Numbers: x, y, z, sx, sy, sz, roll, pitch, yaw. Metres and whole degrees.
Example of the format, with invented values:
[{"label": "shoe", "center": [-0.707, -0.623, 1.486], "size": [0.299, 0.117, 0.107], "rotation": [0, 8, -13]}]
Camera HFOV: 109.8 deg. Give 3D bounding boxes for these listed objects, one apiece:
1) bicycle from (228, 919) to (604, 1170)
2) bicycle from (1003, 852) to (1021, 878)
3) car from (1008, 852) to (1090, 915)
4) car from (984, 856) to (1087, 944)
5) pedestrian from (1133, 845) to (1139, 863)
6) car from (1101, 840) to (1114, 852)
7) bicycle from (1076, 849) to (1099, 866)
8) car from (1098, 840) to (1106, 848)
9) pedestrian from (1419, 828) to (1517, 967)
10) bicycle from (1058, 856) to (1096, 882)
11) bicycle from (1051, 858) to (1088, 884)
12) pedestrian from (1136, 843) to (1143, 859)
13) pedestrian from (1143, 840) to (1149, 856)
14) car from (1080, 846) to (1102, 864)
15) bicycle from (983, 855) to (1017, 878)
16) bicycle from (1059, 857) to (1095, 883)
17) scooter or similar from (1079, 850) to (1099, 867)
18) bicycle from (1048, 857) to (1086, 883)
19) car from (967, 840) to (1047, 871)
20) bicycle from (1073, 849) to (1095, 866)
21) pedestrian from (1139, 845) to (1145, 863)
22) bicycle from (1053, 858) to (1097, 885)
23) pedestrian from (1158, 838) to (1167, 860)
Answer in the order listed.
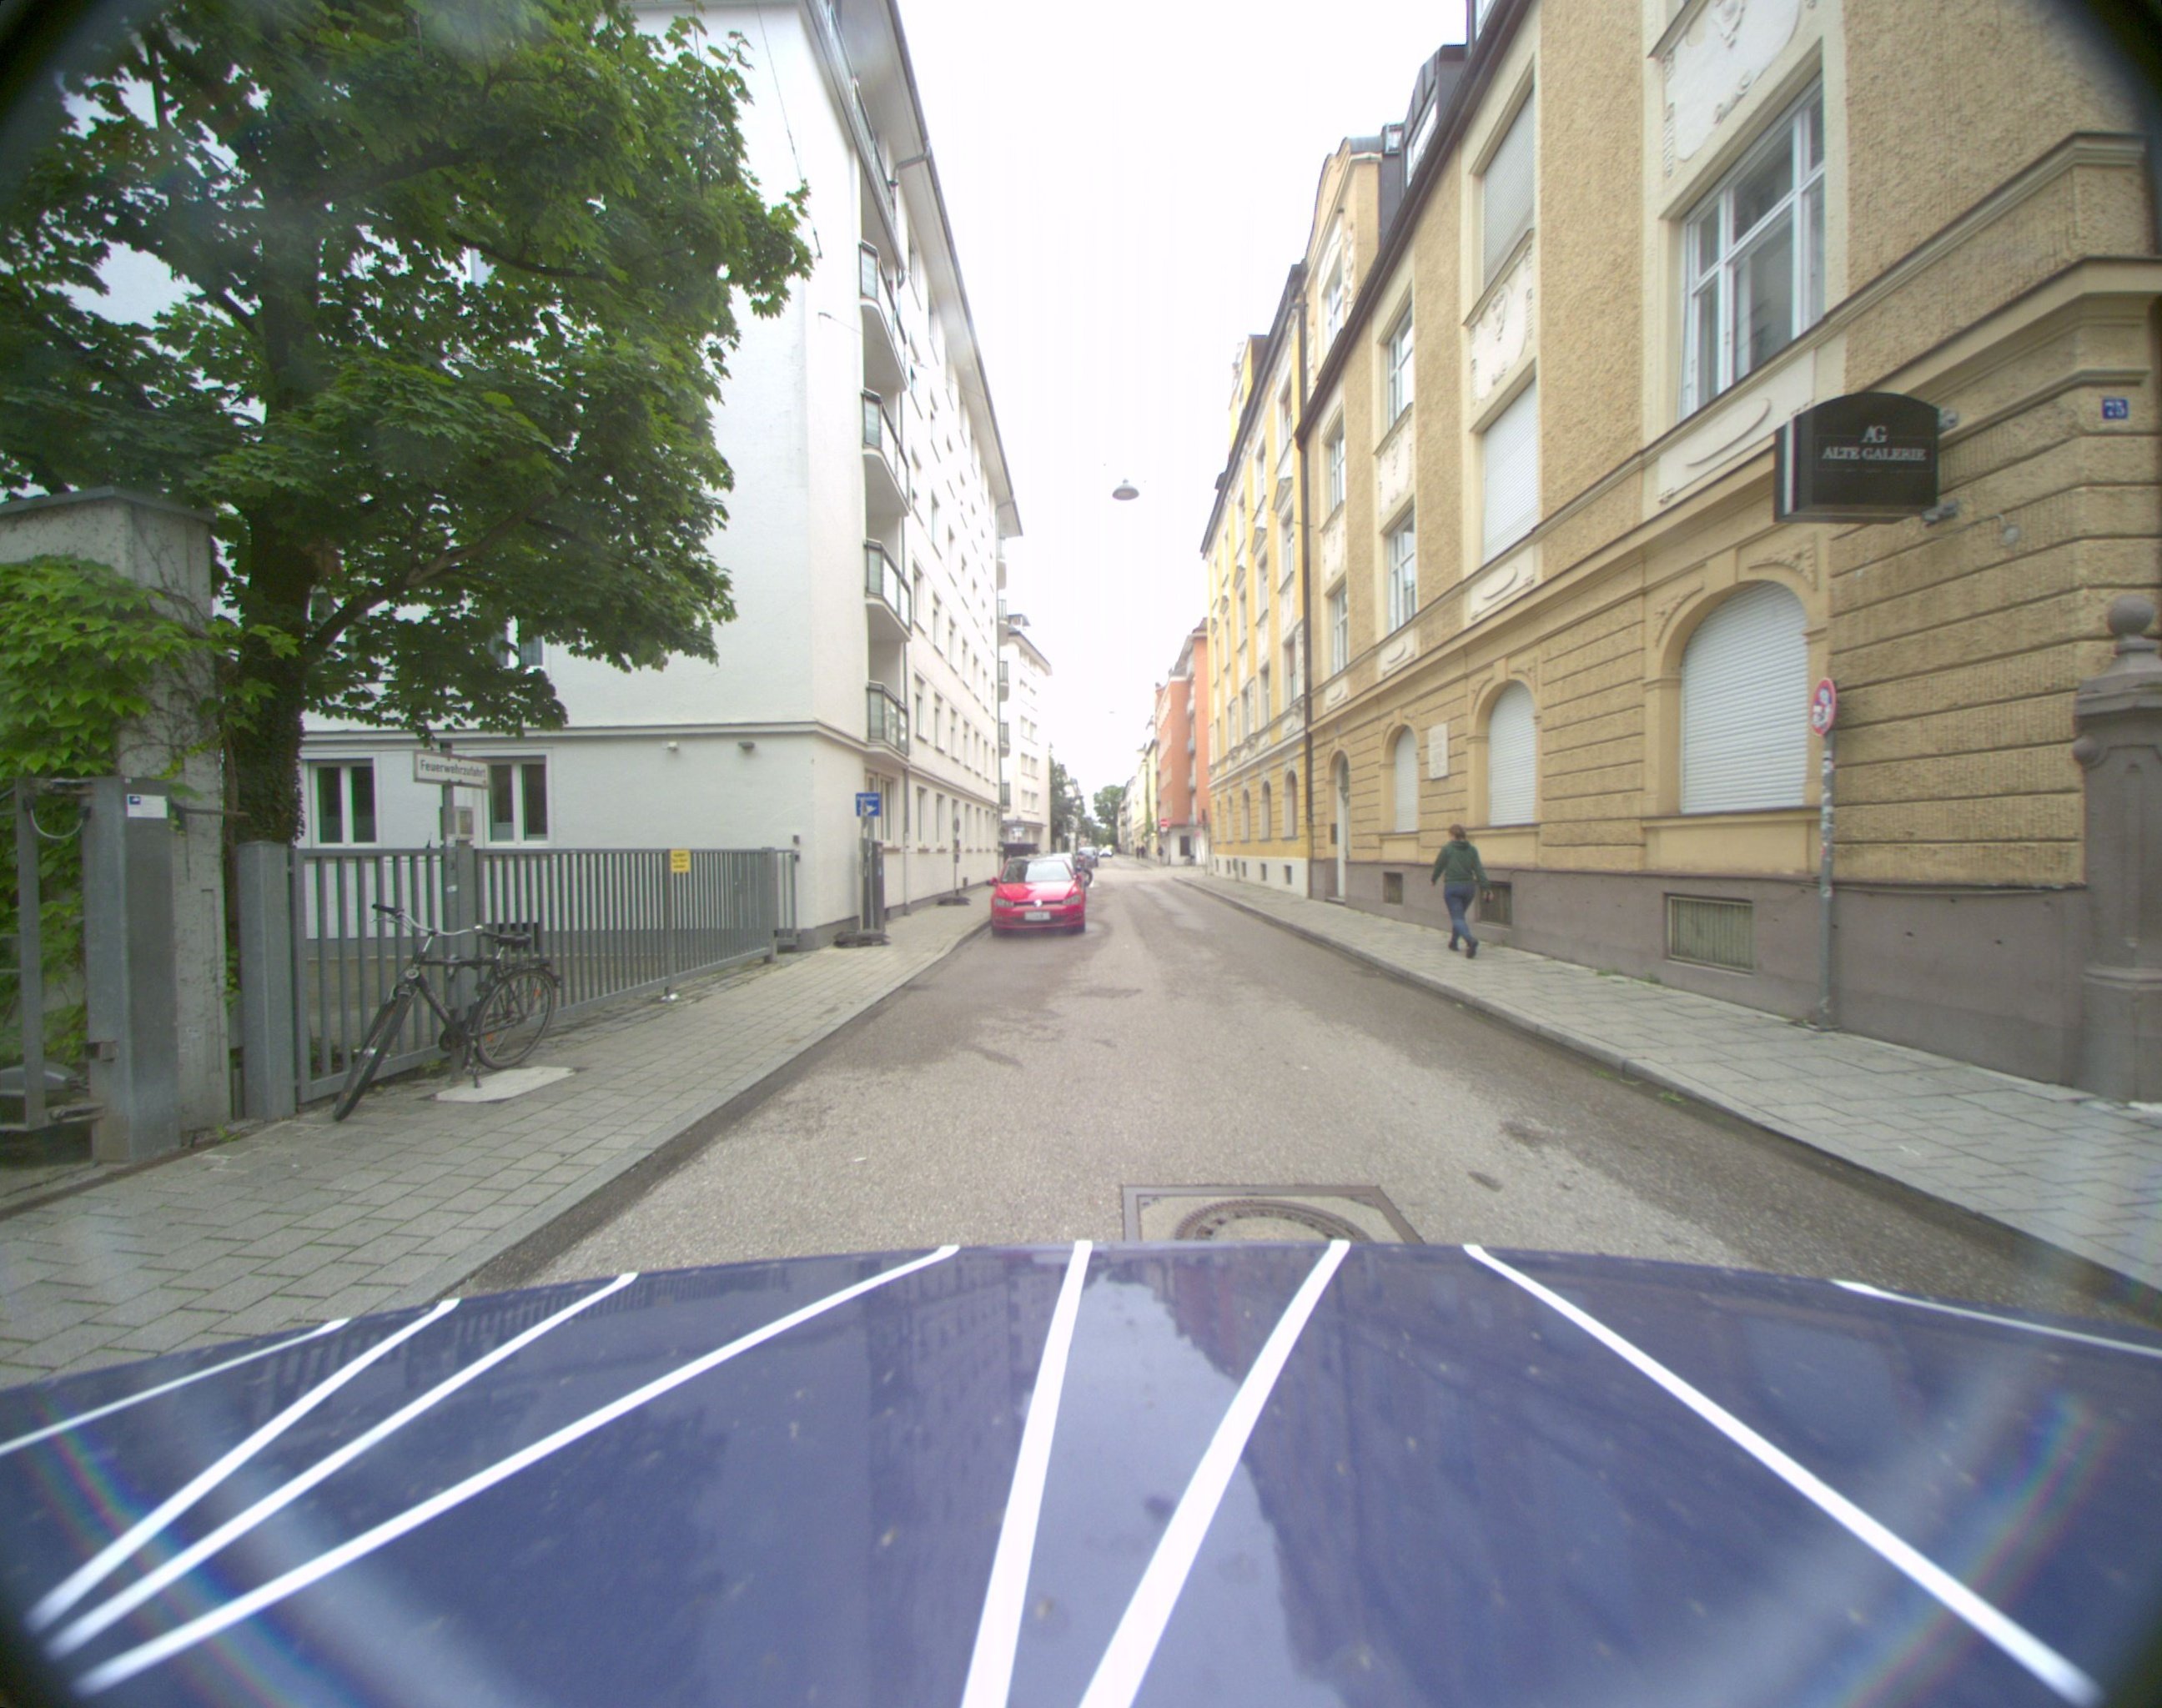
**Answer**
[{"label": "bicycle", "center": [-3.979, 1.053, 4.809], "size": [0.709, 1.191, 1.834], "rotation": [-1, -2, 2]}, {"label": "bicycle", "center": [-3.373, 0.515, 36.857], "size": [0.399, 1.198, 1.502], "rotation": [1, 2, -23]}, {"label": "car", "center": [-0.754, 0.728, 20.934], "size": [1.799, 1.430, 4.383], "rotation": [-2, 1, 3]}, {"label": "car", "center": [-0.960, 0.820, 15.656], "size": [1.766, 1.438, 4.296], "rotation": [-2, 1, -4]}, {"label": "pedestrian", "center": [6.122, 0.008, 84.575], "size": [0.635, 2.002, 0.788], "rotation": [0, 1, 2]}, {"label": "car", "center": [3.963, -1.234, 114.440], "size": [1.929, 1.795, 4.444], "rotation": [-1, 1, 1]}, {"label": "bicycle", "center": [0.460, 0.266, 55.591], "size": [1.607, 1.207, 0.529], "rotation": [0, 1, 4]}, {"label": "car", "center": [5.669, -2.627, 204.610], "size": [1.998, 2.002, 4.646], "rotation": [-1, 1, 1]}, {"label": "pedestrian", "center": [4.937, 0.531, 9.745], "size": [0.714, 1.656, 0.929], "rotation": [-4, 1, 1]}, {"label": "bicycle", "center": [-0.182, 0.670, 34.072], "size": [1.699, 1.154, 0.378], "rotation": [-1, 1, 1]}, {"label": "bicycle", "center": [-0.476, 0.698, 31.158], "size": [1.438, 1.038, 0.330], "rotation": [2, 2, 10]}, {"label": "pedestrian", "center": [6.500, -0.372, 84.813], "size": [0.726, 1.783, 0.830], "rotation": [0, 1, 2]}, {"label": "pedestrian", "center": [7.244, -0.650, 84.680], "size": [0.699, 1.783, 0.763], "rotation": [0, 1, 2]}, {"label": "car", "center": [0.831, 0.081, 61.979], "size": [1.653, 1.391, 4.000], "rotation": [0, 1, 2]}, {"label": "bicycle", "center": [-3.744, 0.577, 35.018], "size": [1.502, 1.038, 0.398], "rotation": [1, 2, -17]}, {"label": "bicycle", "center": [-0.176, 0.681, 32.401], "size": [1.441, 1.038, 0.360], "rotation": [2, 2, 10]}, {"label": "scooter or similar", "center": [0.577, 0.291, 54.162], "size": [1.340, 1.207, 0.344], "rotation": [0, 1, 4]}, {"label": "bicycle", "center": [-0.594, 0.681, 32.074], "size": [1.520, 1.038, 0.360], "rotation": [2, 2, 10]}, {"label": "car", "center": [-4.663, 0.085, 48.325], "size": [4.675, 1.880, 1.935], "rotation": [0, 1, 10]}, {"label": "bicycle", "center": [0.243, 0.256, 56.169], "size": [1.607, 1.207, 0.529], "rotation": [0, 1, 4]}, {"label": "pedestrian", "center": [6.788, -0.018, 84.616], "size": [0.635, 2.002, 0.788], "rotation": [0, 1, 2]}, {"label": "bicycle", "center": [-0.242, 0.707, 30.685], "size": [1.707, 1.038, 0.360], "rotation": [1, 2, 2]}, {"label": "pedestrian", "center": [6.232, -0.403, 58.335], "size": [0.613, 1.684, 0.566], "rotation": [0, 1, 1]}]
